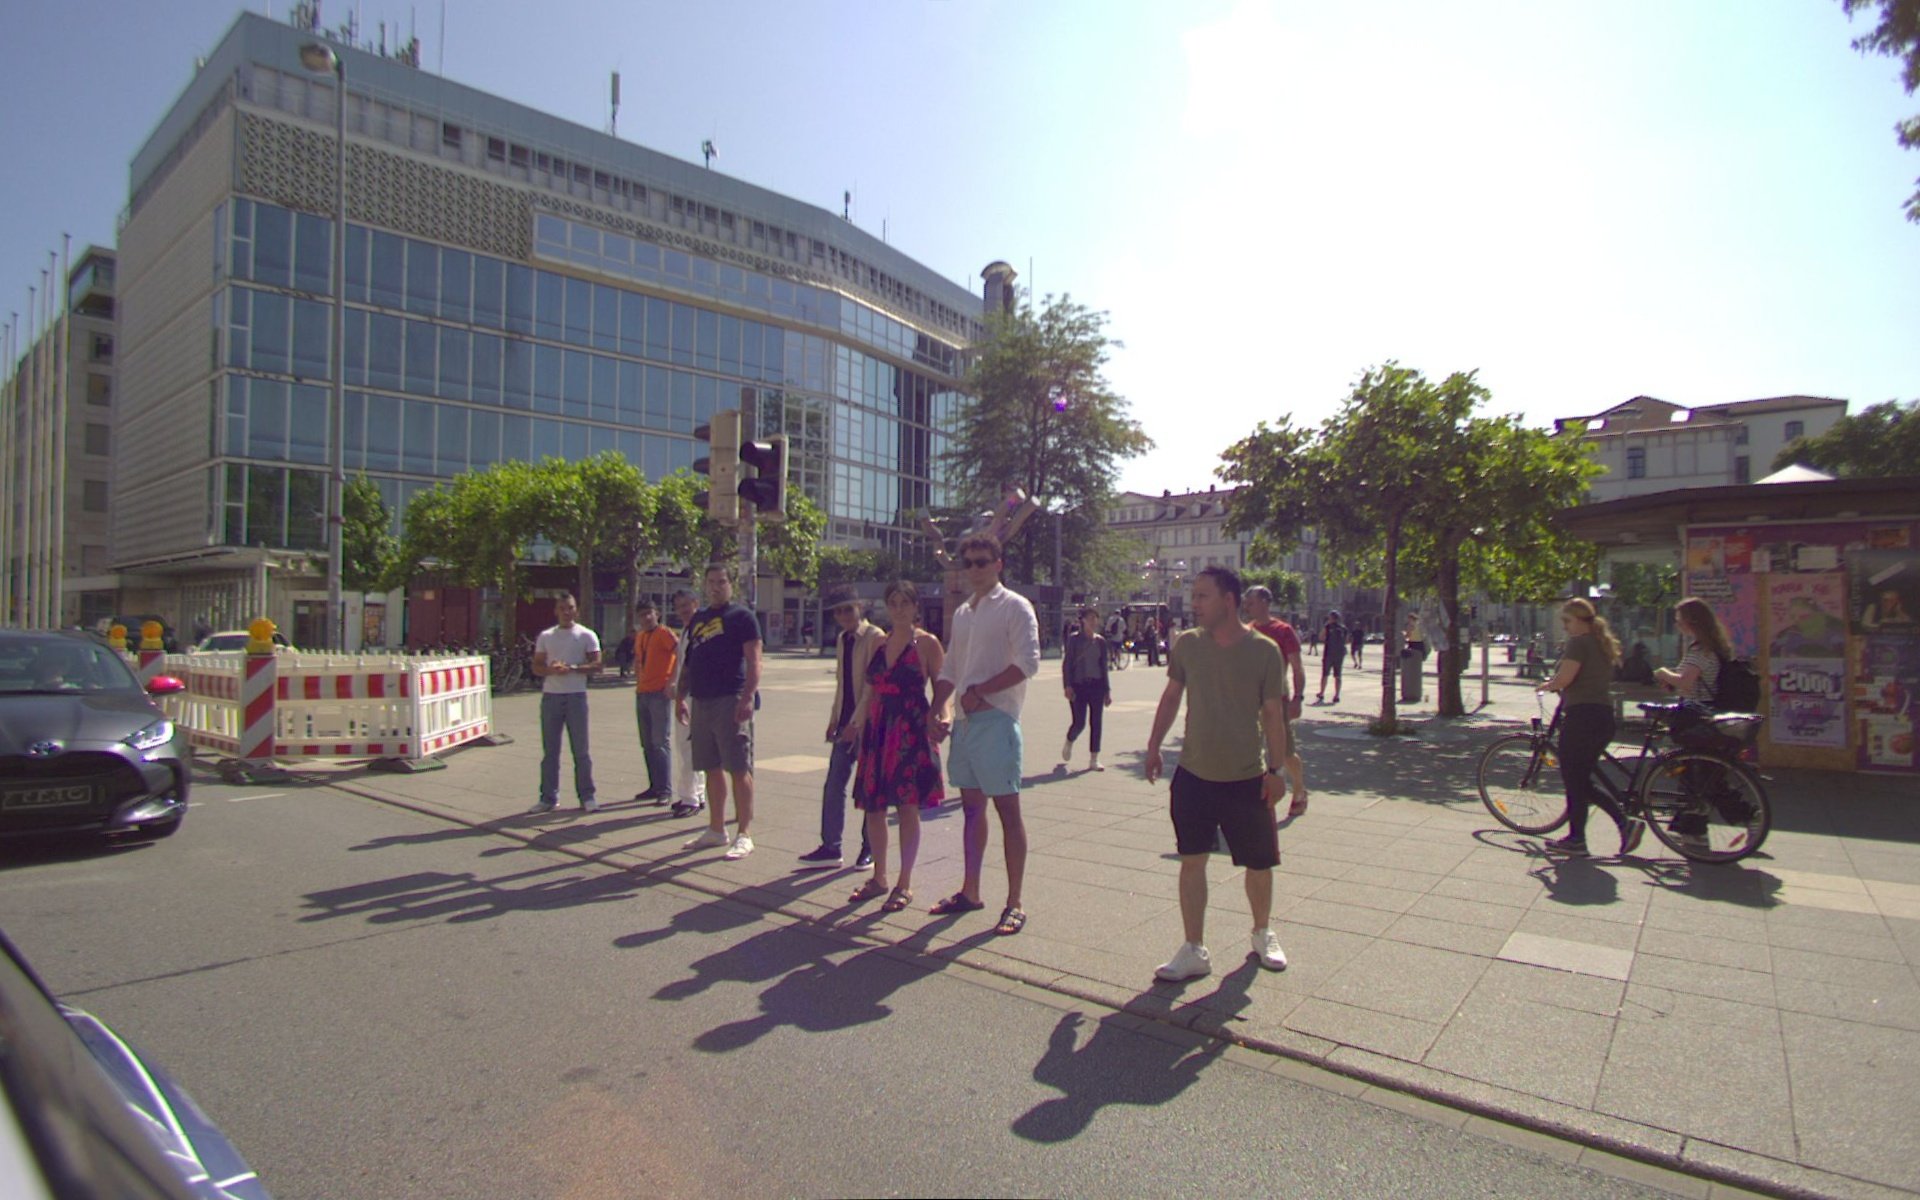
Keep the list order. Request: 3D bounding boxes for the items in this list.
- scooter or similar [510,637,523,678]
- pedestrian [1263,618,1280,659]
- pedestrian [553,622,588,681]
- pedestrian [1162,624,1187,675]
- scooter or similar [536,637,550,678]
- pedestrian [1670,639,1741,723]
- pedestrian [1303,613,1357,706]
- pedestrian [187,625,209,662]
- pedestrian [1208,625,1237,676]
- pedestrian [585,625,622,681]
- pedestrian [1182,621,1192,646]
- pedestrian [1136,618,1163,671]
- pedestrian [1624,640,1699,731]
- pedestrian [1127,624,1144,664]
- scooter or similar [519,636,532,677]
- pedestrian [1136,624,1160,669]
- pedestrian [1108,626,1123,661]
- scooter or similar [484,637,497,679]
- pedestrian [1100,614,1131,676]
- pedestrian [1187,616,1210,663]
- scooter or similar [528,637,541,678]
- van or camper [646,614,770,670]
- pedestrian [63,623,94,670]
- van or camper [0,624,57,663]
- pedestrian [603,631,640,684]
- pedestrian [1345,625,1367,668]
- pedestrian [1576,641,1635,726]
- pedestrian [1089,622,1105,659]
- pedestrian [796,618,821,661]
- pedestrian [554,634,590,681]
[{"bbox_3d":[-13.638,1.761,31.115,0.230,1.223,1.307,1,-2,-30],"label":"scooter or similar"},{"bbox_3d":[12.662,1.577,41.181,0.602,1.651,0.570,-1,-1,22],"label":"pedestrian"},{"bbox_3d":[-11.340,1.475,29.449,0.685,1.690,0.666,-1,-2,33],"label":"pedestrian"},{"bbox_3d":[7.600,1.734,35.860,0.605,1.762,0.794,-1,-1,36],"label":"pedestrian"},{"bbox_3d":[-12.904,1.759,31.304,0.230,1.223,1.307,1,-2,-30],"label":"scooter or similar"},{"bbox_3d":[11.630,1.252,15.805,0.602,1.272,0.613,0,-2,-4],"label":"pedestrian"},{"bbox_3d":[7.233,1.144,19.798,0.596,1.762,0.806,0,-1,-18],"label":"pedestrian"},{"bbox_3d":[-33.135,1.891,44.019,0.543,1.629,0.574,-1,-4,39],"label":"pedestrian"},{"bbox_3d":[8.276,1.590,31.906,0.605,1.573,0.794,-1,-1,36],"label":"pedestrian"},{"bbox_3d":[-10.396,1.530,29.522,0.670,1.618,0.798,-1,-2,28],"label":"pedestrian"},{"bbox_3d":[15.346,2.258,68.362,0.602,1.651,0.570,-1,-1,22],"label":"pedestrian"},{"bbox_3d":[6.507,1.520,34.710,0.605,1.762,0.794,-1,-1,36],"label":"pedestrian"},{"bbox_3d":[10.074,1.209,14.547,0.602,1.272,0.613,0,-2,-13],"label":"pedestrian"},{"bbox_3d":[7.452,1.853,42.875,0.602,1.651,0.570,-1,-1,22],"label":"pedestrian"},{"bbox_3d":[-13.395,1.726,31.177,0.230,1.223,1.307,1,-2,-30],"label":"scooter or similar"},{"bbox_3d":[7.085,1.743,38.185,0.605,1.634,0.794,-1,-1,36],"label":"pedestrian"},{"bbox_3d":[7.513,2.087,48.890,0.602,1.651,0.570,-1,-1,22],"label":"pedestrian"},{"bbox_3d":[-14.308,1.750,30.848,0.230,1.223,1.307,1,-2,-30],"label":"scooter or similar"},{"bbox_3d":[4.711,1.348,30.638,0.605,1.812,0.794,-1,-1,36],"label":"pedestrian"},{"bbox_3d":[9.005,1.490,38.215,0.605,1.762,0.794,-1,-1,36],"label":"pedestrian"},{"bbox_3d":[-13.154,1.752,31.264,0.230,1.223,1.307,1,-2,-30],"label":"scooter or similar"},{"bbox_3d":[-9.468,1.529,37.810,5.020,1.933,1.854,-1,-2,39],"label":"van or camper"},{"bbox_3d":[-34.476,1.811,39.592,0.610,1.806,0.694,0,-2,-10],"label":"pedestrian"},{"bbox_3d":[-52.872,2.414,55.533,4.585,2.029,2.004,-1,-2,-10],"label":"van or camper"},{"bbox_3d":[-9.221,1.550,27.543,0.662,1.392,0.898,1,-2,-40],"label":"pedestrian"},{"bbox_3d":[15.522,1.830,39.674,0.566,1.651,0.606,0,-1,-44],"label":"pedestrian"},{"bbox_3d":[9.906,1.263,15.542,0.608,1.272,0.607,-1,-2,19],"label":"pedestrian"},{"bbox_3d":[6.240,1.854,46.037,0.602,1.651,0.570,-1,-1,22],"label":"pedestrian"},{"bbox_3d":[-6.203,1.602,41.420,0.605,1.762,0.794,-1,-1,36],"label":"pedestrian"},{"bbox_3d":[-11.121,1.631,29.022,0.683,1.319,0.668,-1,-2,23],"label":"pedestrian"}]
